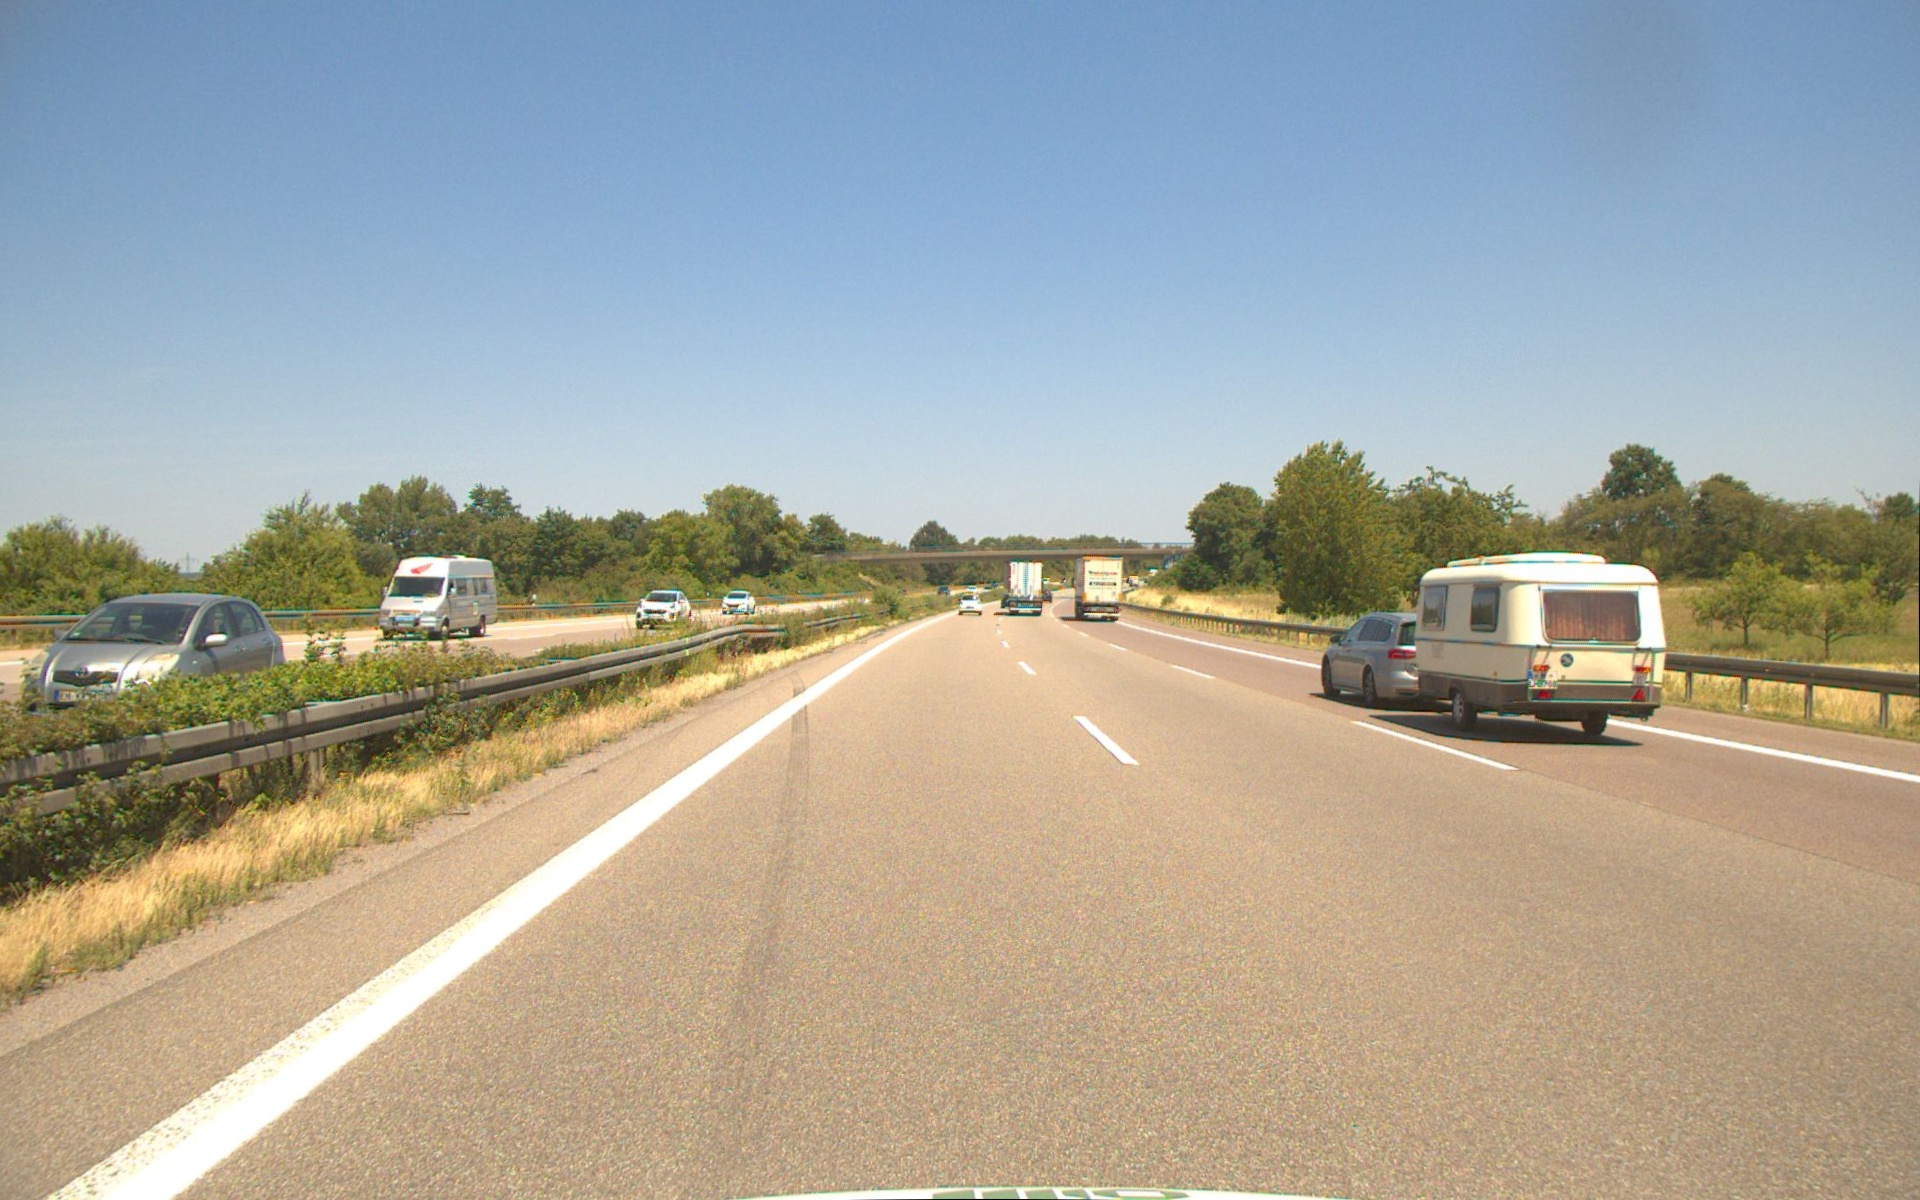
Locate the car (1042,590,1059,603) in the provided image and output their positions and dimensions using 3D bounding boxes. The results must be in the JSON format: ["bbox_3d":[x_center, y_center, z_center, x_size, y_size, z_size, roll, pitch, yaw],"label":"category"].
[{"bbox_3d":[11.568,-0.442,211.105,1.789,1.574,4.322,1,1,8],"label":"car"}]

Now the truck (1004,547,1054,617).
[{"bbox_3d":[5.527,-1.474,129.297,3.589,5.105,16.026,1,1,3],"label":"truck"}]

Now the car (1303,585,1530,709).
[{"bbox_3d":[7.196,0.662,26.742,2.003,1.687,5.509,0,1,-2],"label":"car"}]

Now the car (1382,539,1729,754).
[{"bbox_3d":[7.331,0.450,21.107,2.393,2.362,5.320,-1,1,-2],"label":"car"}]

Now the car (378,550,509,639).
[{"bbox_3d":[-16.934,-0.171,54.718,1.952,2.733,7.183,0,0,1],"label":"car"}]

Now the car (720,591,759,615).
[{"bbox_3d":[-15.246,0.180,114.562,1.711,1.567,4.829,2,1,3],"label":"car"}]

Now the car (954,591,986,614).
[{"bbox_3d":[0.761,0.159,121.866,1.789,1.574,4.322,1,1,8],"label":"car"}]

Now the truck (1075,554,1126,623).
[{"bbox_3d":[9.477,-0.878,112.951,3.114,4.379,16.027,1,1,4],"label":"truck"}]

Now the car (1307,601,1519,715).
[{"bbox_3d":[7.130,0.840,26.660,1.848,1.542,5.379,2,1,-1],"label":"car"}]

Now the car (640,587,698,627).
[{"bbox_3d":[-12.900,0.316,73.512,1.751,1.710,4.900,0,0,-1],"label":"car"}]

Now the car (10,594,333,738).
[{"bbox_3d":[-9.050,0.693,19.417,1.711,1.492,4.250,0,0,0],"label":"car"}]
